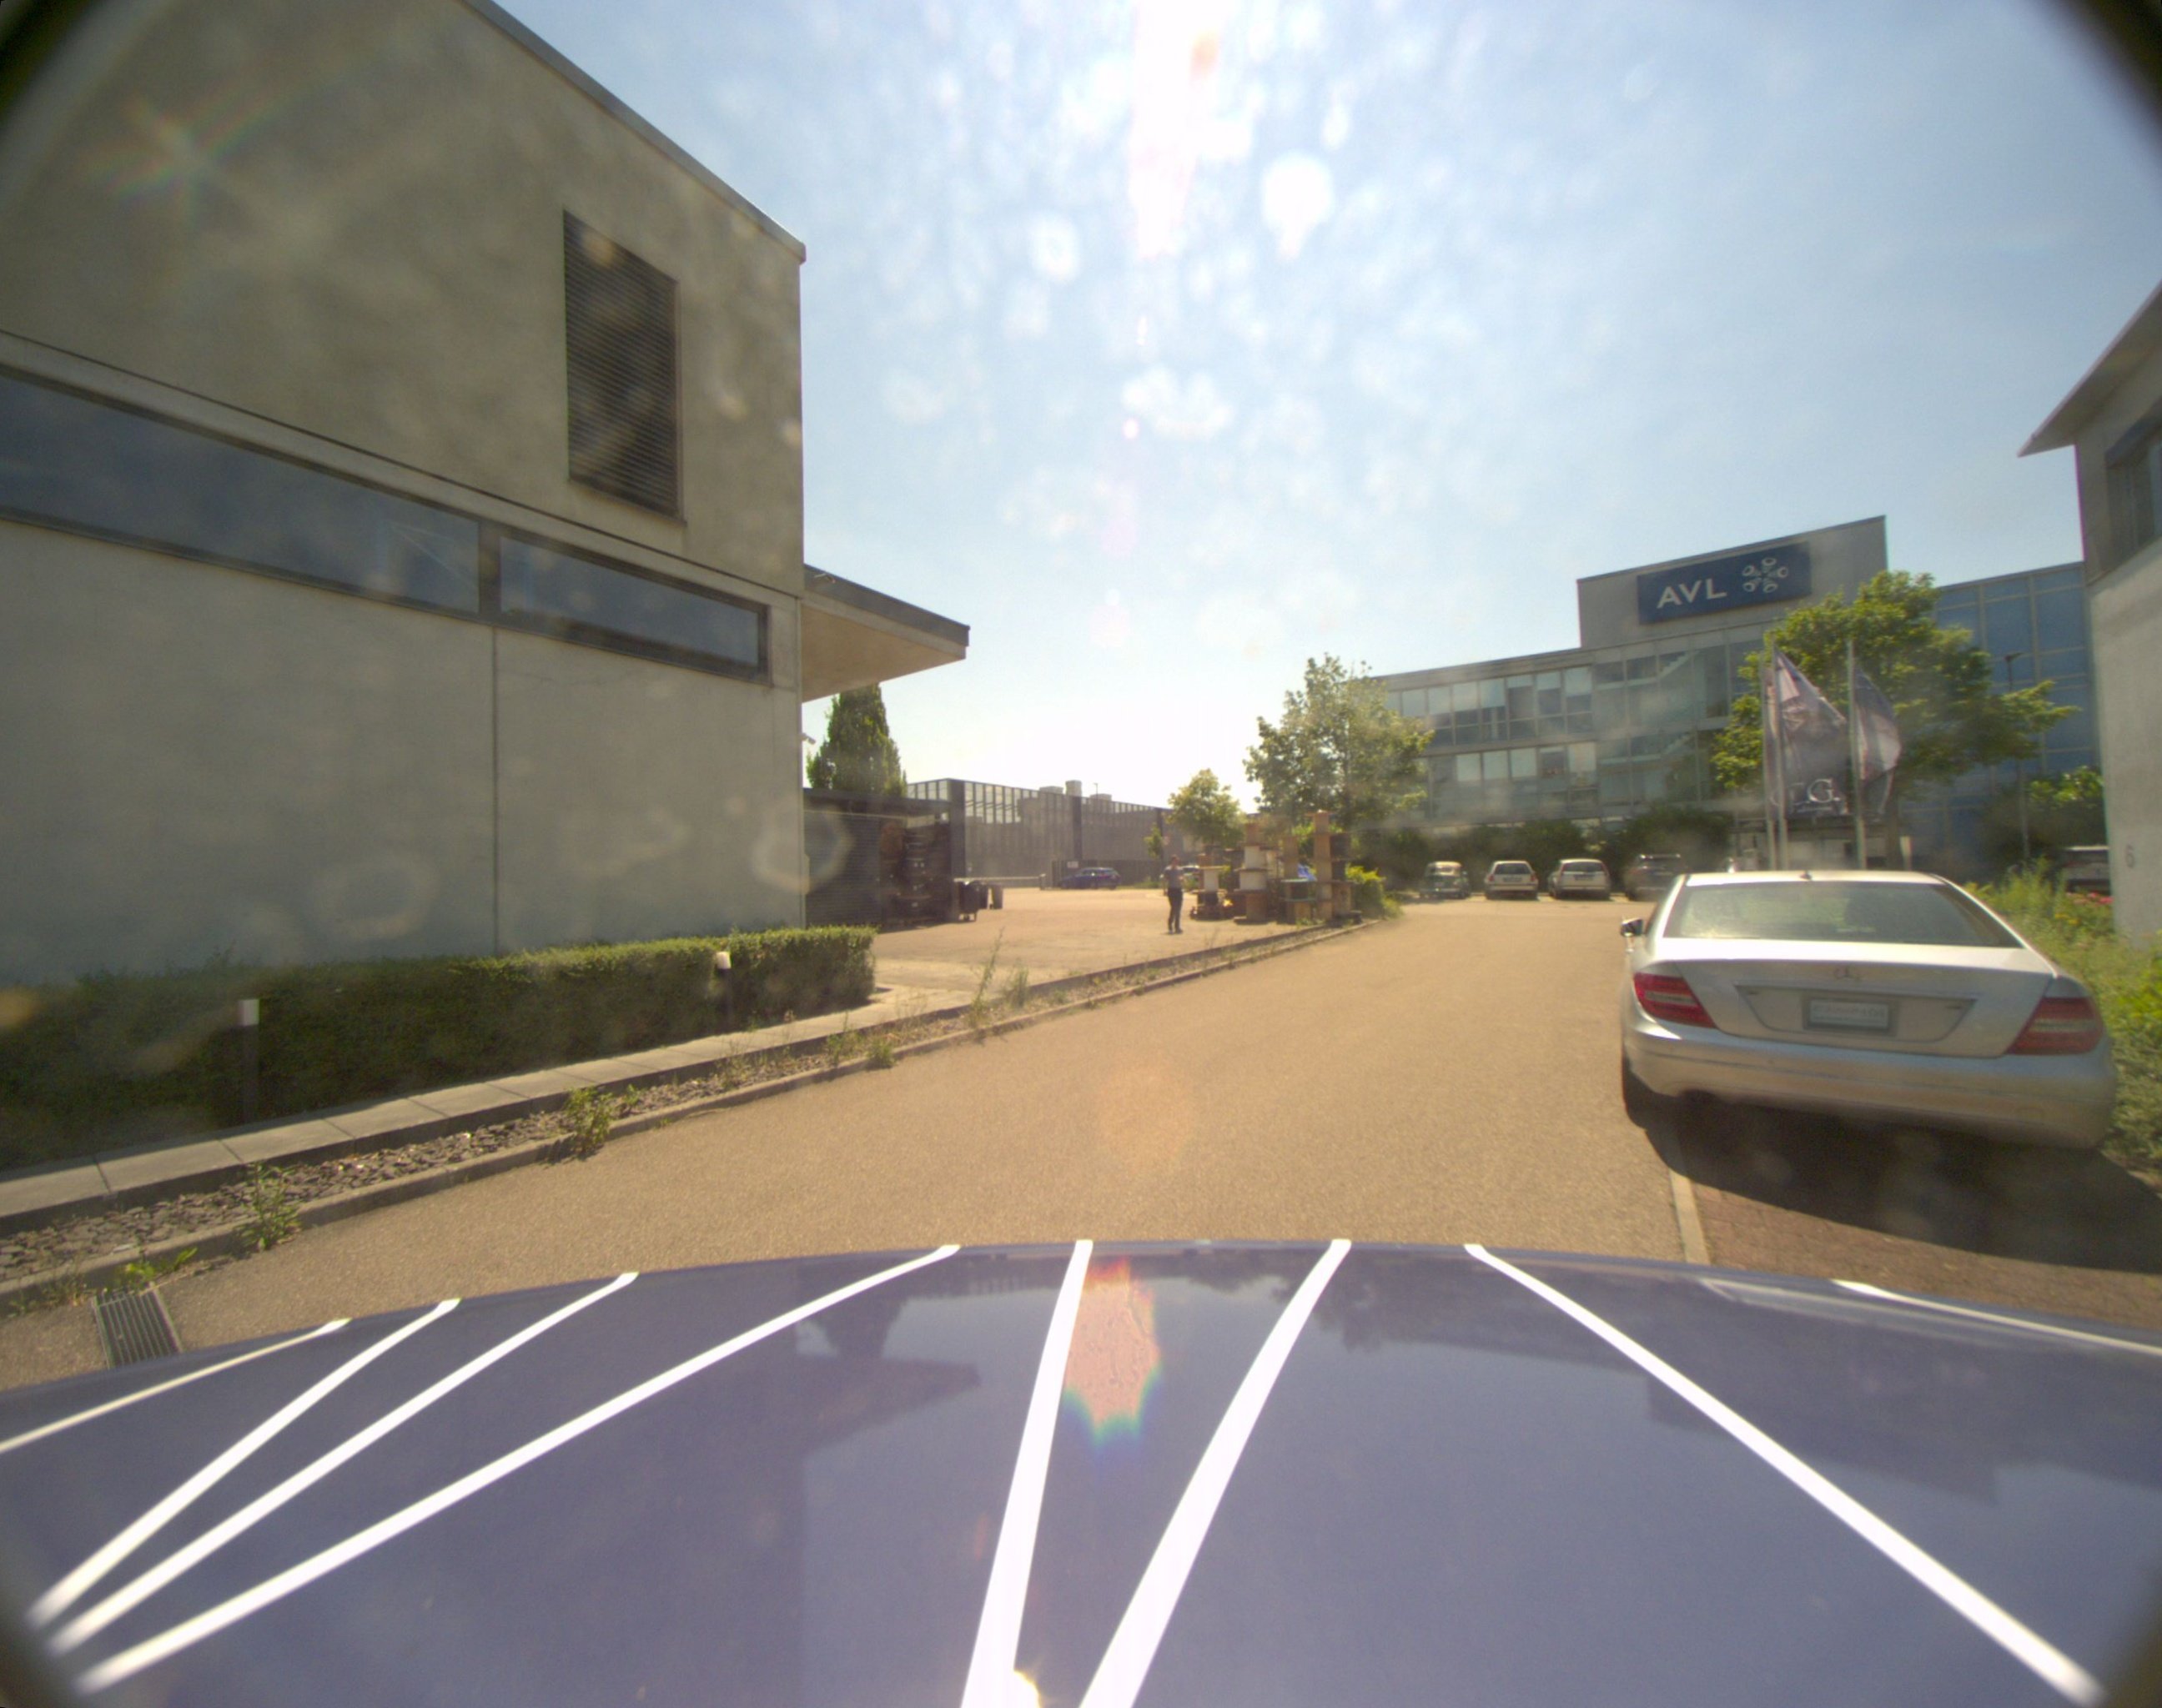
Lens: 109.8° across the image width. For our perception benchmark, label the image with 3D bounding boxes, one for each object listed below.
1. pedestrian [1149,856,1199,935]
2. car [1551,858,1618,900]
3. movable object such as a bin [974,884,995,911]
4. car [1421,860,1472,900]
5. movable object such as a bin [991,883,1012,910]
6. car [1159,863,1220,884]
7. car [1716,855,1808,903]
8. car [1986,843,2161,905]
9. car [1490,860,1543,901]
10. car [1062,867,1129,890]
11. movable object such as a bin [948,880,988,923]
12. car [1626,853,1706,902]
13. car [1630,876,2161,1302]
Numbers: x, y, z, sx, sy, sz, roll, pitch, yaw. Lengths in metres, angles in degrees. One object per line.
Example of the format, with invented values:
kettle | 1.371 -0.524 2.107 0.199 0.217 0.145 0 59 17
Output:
pedestrian | 2.157 0.939 17.662 0.810 1.758 0.767 -2 0 -25
car | 18.970 0.911 28.762 1.728 1.443 3.607 -1 0 27
movable object such as a bin | -3.514 1.581 27.645 0.584 0.912 0.548 -2 0 10
car | 14.769 1.006 30.624 1.519 1.437 3.426 -1 0 31
movable object such as a bin | -2.882 1.536 27.558 0.584 0.912 0.548 -2 0 10
car | 8.087 1.462 56.807 1.784 1.467 4.403 -1 -1 -40
car | 22.968 0.795 25.776 1.726 1.475 4.406 -2 -1 35
car | 28.615 0.545 22.101 1.828 1.627 4.180 -2 -1 34
car | 16.814 0.974 29.465 1.639 1.443 3.607 -1 0 27
car | 0.898 1.608 50.273 1.863 1.401 4.434 -1 -1 -43
movable object such as a bin | -3.402 1.415 22.856 0.874 1.242 0.803 -1 0 43
car | 20.845 0.782 27.212 1.934 1.593 3.867 -1 0 33
car | 4.670 0.929 4.855 1.730 1.448 4.156 -2 -1 38
